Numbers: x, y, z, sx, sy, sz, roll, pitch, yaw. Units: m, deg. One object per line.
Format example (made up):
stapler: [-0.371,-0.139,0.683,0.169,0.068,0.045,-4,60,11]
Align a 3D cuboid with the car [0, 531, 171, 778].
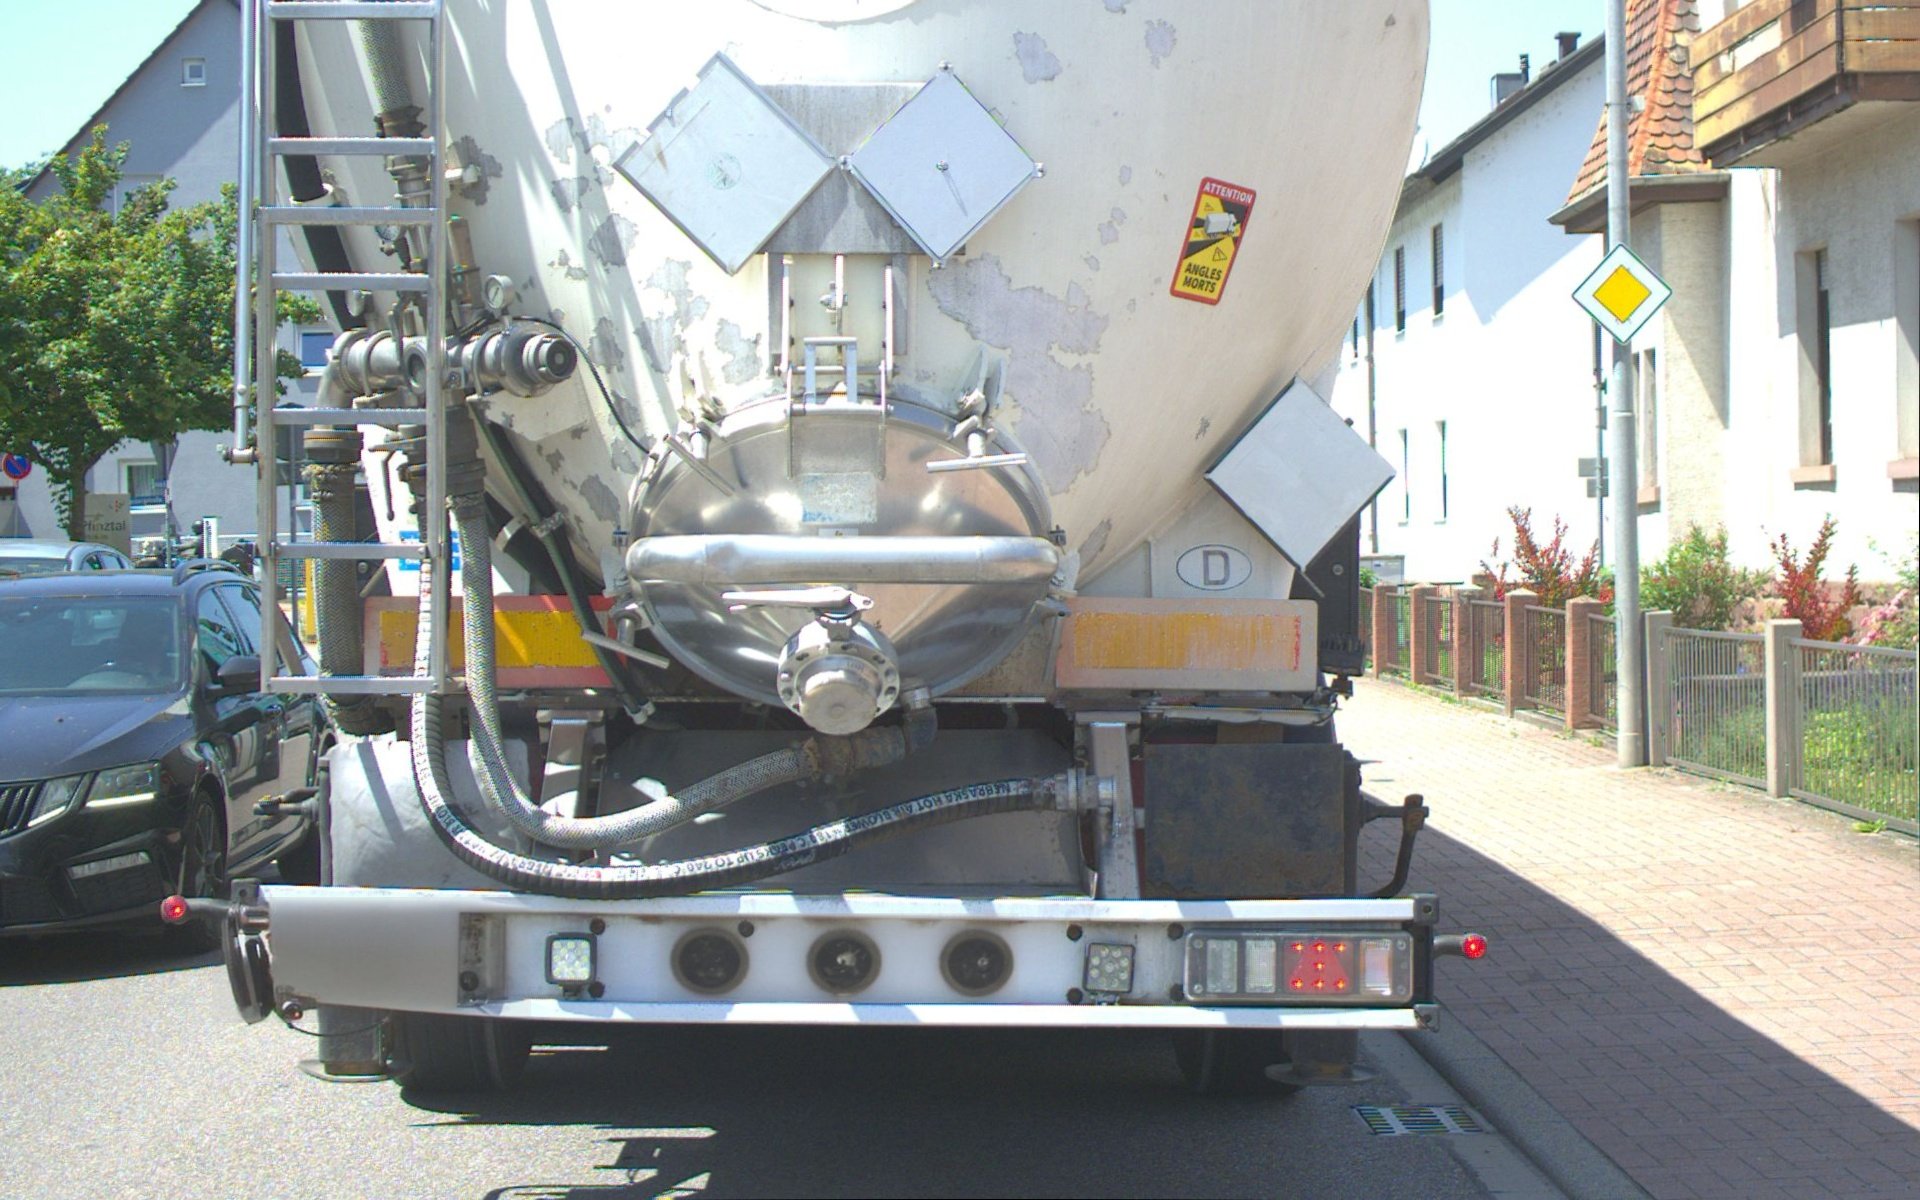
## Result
car: [-6.730,0.312,23.882,1.697,1.575,3.838,0,1,-1]

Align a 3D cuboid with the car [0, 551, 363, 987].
car: [-3.662,0.576,13.935,1.719,1.441,4.255,-2,1,0]

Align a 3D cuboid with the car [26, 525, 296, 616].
car: [-15.042,-0.565,64.814,4.626,1.645,1.740,0,1,8]

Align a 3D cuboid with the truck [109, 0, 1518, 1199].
truck: [-0.311,-0.728,11.233,2.641,4.002,9.562,0,1,0]
